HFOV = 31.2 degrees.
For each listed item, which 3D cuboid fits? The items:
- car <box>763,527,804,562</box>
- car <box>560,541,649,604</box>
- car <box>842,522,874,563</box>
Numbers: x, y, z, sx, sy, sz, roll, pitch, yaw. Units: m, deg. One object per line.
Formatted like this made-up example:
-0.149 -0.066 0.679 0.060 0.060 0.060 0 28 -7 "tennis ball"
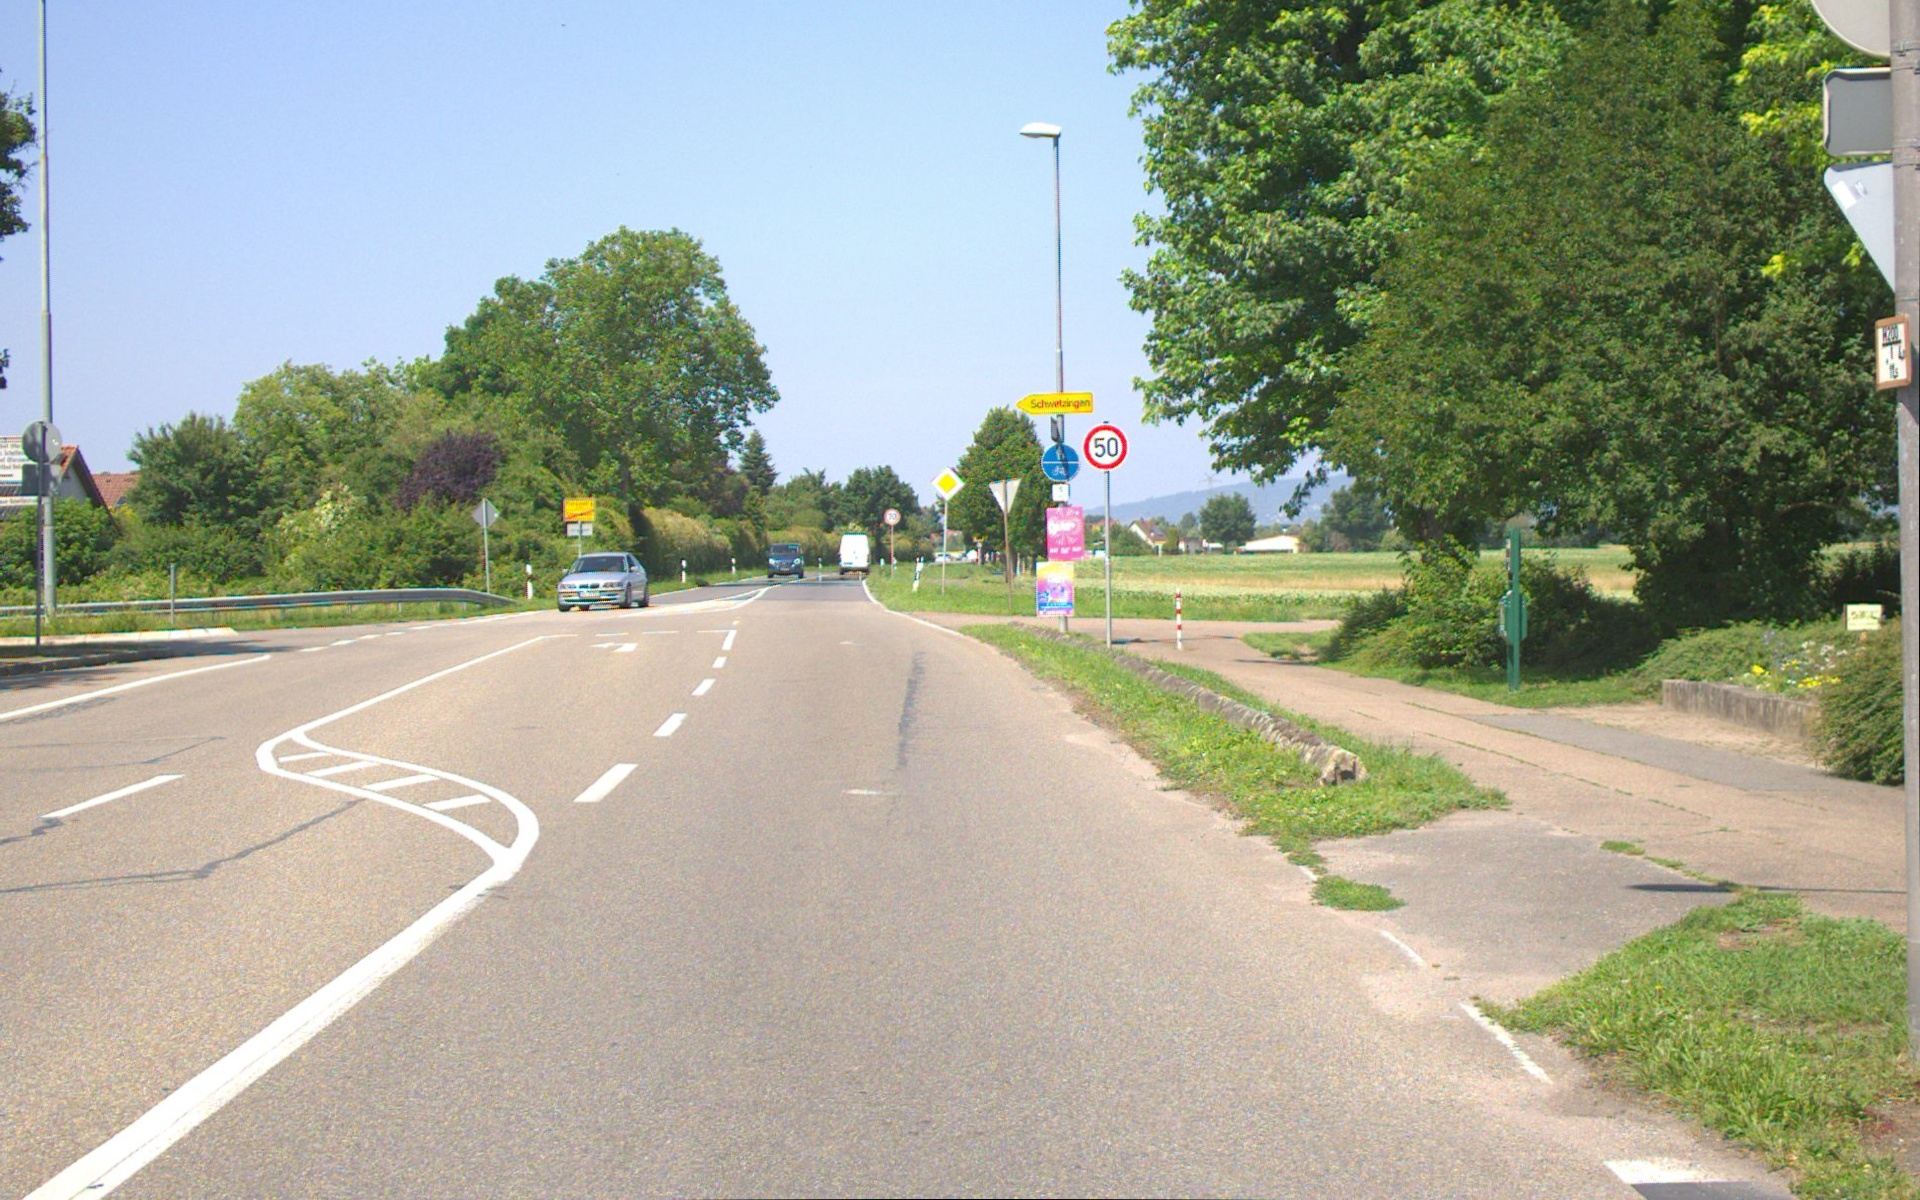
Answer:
-10.128 -3.205 197.833 2.144 1.944 5.248 -1 1 -1 "car"
-8.783 -0.698 85.117 1.636 1.466 4.416 -1 1 1 "car"
-6.706 -3.802 226.275 1.993 2.642 4.001 -1 1 -3 "car"
